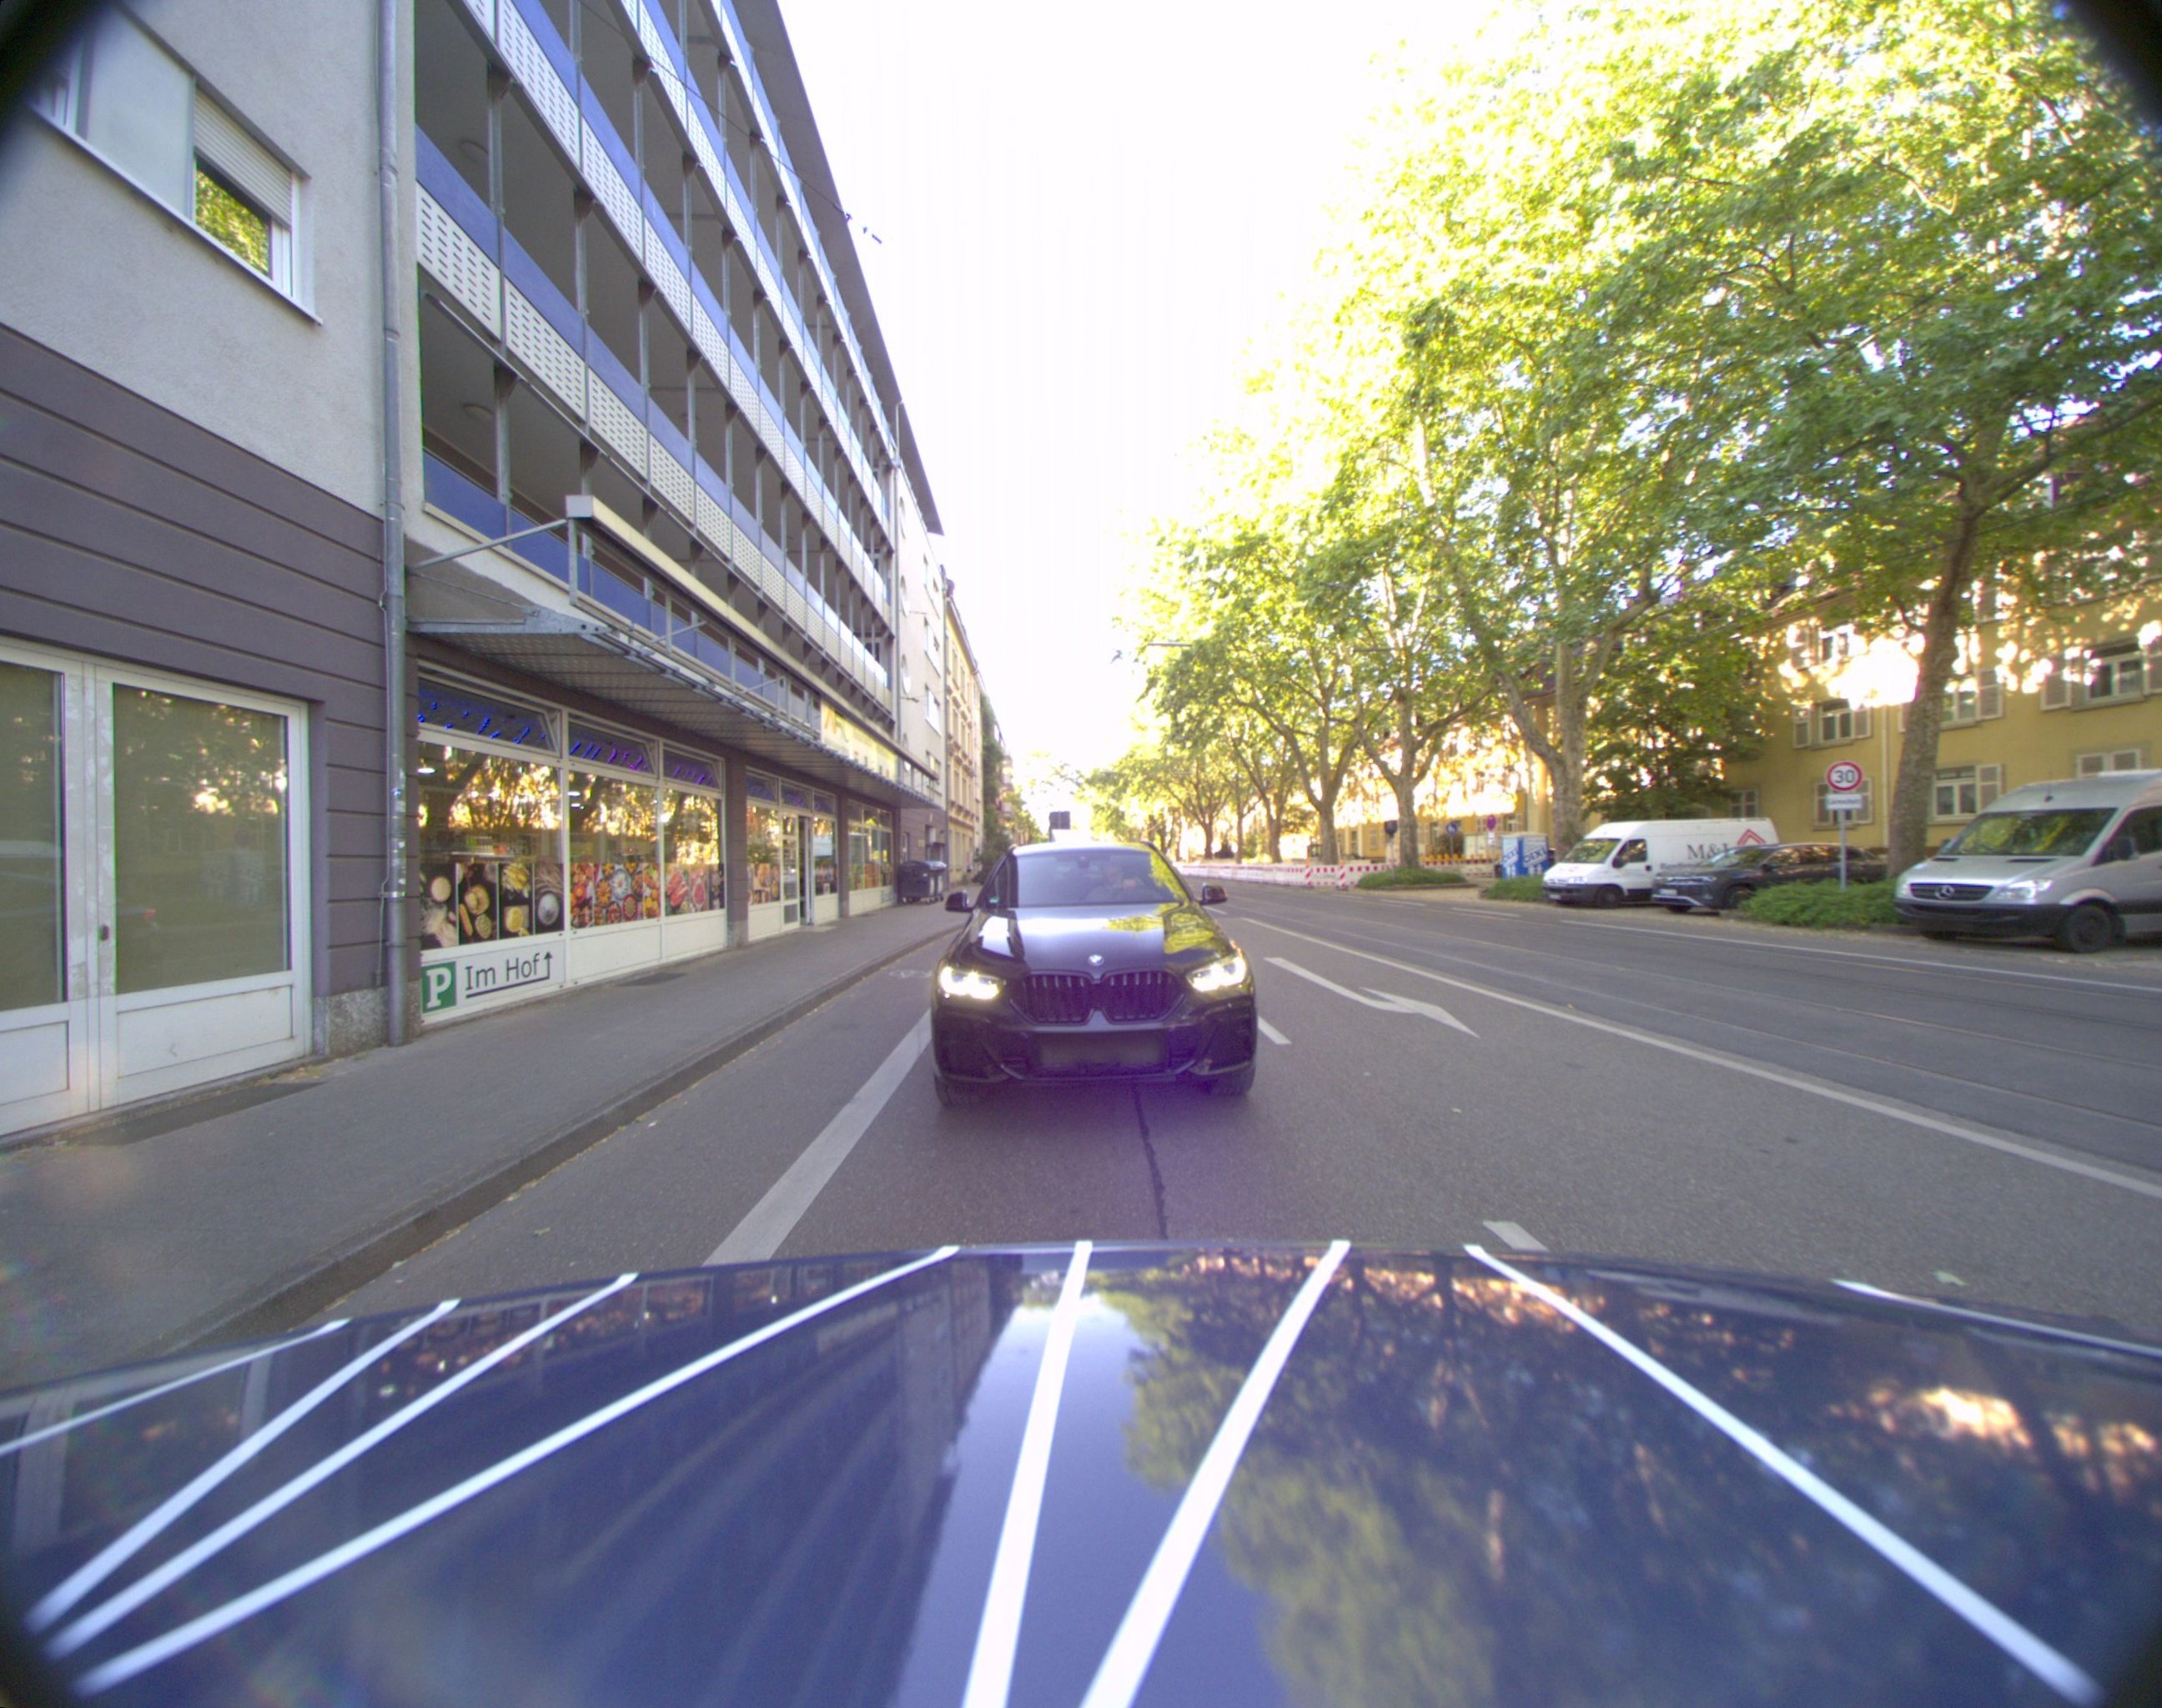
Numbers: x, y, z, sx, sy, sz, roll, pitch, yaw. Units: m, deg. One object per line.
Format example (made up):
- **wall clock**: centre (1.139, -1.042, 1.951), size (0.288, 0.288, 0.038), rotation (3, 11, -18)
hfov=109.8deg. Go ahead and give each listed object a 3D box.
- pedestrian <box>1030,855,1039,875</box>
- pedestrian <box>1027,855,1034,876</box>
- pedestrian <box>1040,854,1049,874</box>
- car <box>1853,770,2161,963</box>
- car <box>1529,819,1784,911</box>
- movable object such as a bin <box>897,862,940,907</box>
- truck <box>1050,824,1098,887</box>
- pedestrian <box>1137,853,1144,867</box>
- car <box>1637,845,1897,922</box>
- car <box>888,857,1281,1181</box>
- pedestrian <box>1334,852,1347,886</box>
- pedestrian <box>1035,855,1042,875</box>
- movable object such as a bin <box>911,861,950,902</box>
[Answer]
- **pedestrian**: centre (-4.464, 1.034, 72.625), size (0.733, 1.875, 0.664), rotation (-2, 1, -1)
- **pedestrian**: centre (-4.709, 1.056, 71.060), size (0.600, 1.875, 0.581), rotation (-2, 1, -1)
- **pedestrian**: centre (-3.493, 0.997, 72.632), size (0.733, 1.875, 0.664), rotation (-2, 1, -1)
- **car**: centre (15.987, 0.133, 11.874), size (5.666, 2.666, 2.223), rotation (-2, 0, -2)
- **car**: centre (15.848, 0.294, 21.163), size (5.404, 2.362, 2.223), rotation (-1, 0, 0)
- **movable object such as a bin**: centre (-5.269, 0.975, 24.664), size (1.158, 1.418, 0.939), rotation (-1, 0, 1)
- **truck**: centre (-0.311, 0.120, 42.116), size (2.394, 3.170, 6.587), rotation (-1, 0, 1)
- **pedestrian**: centre (7.911, 0.820, 101.567), size (0.732, 1.875, 0.742), rotation (-2, 1, 19)
- **car**: centre (16.081, 0.662, 17.956), size (4.627, 1.642, 1.774), rotation (-1, 0, -2)
- **car**: centre (0.045, 0.862, 6.066), size (1.998, 1.643, 4.295), rotation (-1, 0, 1)
- **pedestrian**: centre (13.780, 0.782, 40.325), size (0.582, 1.735, 0.653), rotation (-2, 1, 18)
- **pedestrian**: centre (-3.955, 1.028, 71.010), size (0.600, 1.875, 0.581), rotation (-2, 1, -1)
- **movable object such as a bin**: centre (-5.279, 0.951, 26.702), size (1.158, 1.418, 0.939), rotation (-1, 0, 1)
